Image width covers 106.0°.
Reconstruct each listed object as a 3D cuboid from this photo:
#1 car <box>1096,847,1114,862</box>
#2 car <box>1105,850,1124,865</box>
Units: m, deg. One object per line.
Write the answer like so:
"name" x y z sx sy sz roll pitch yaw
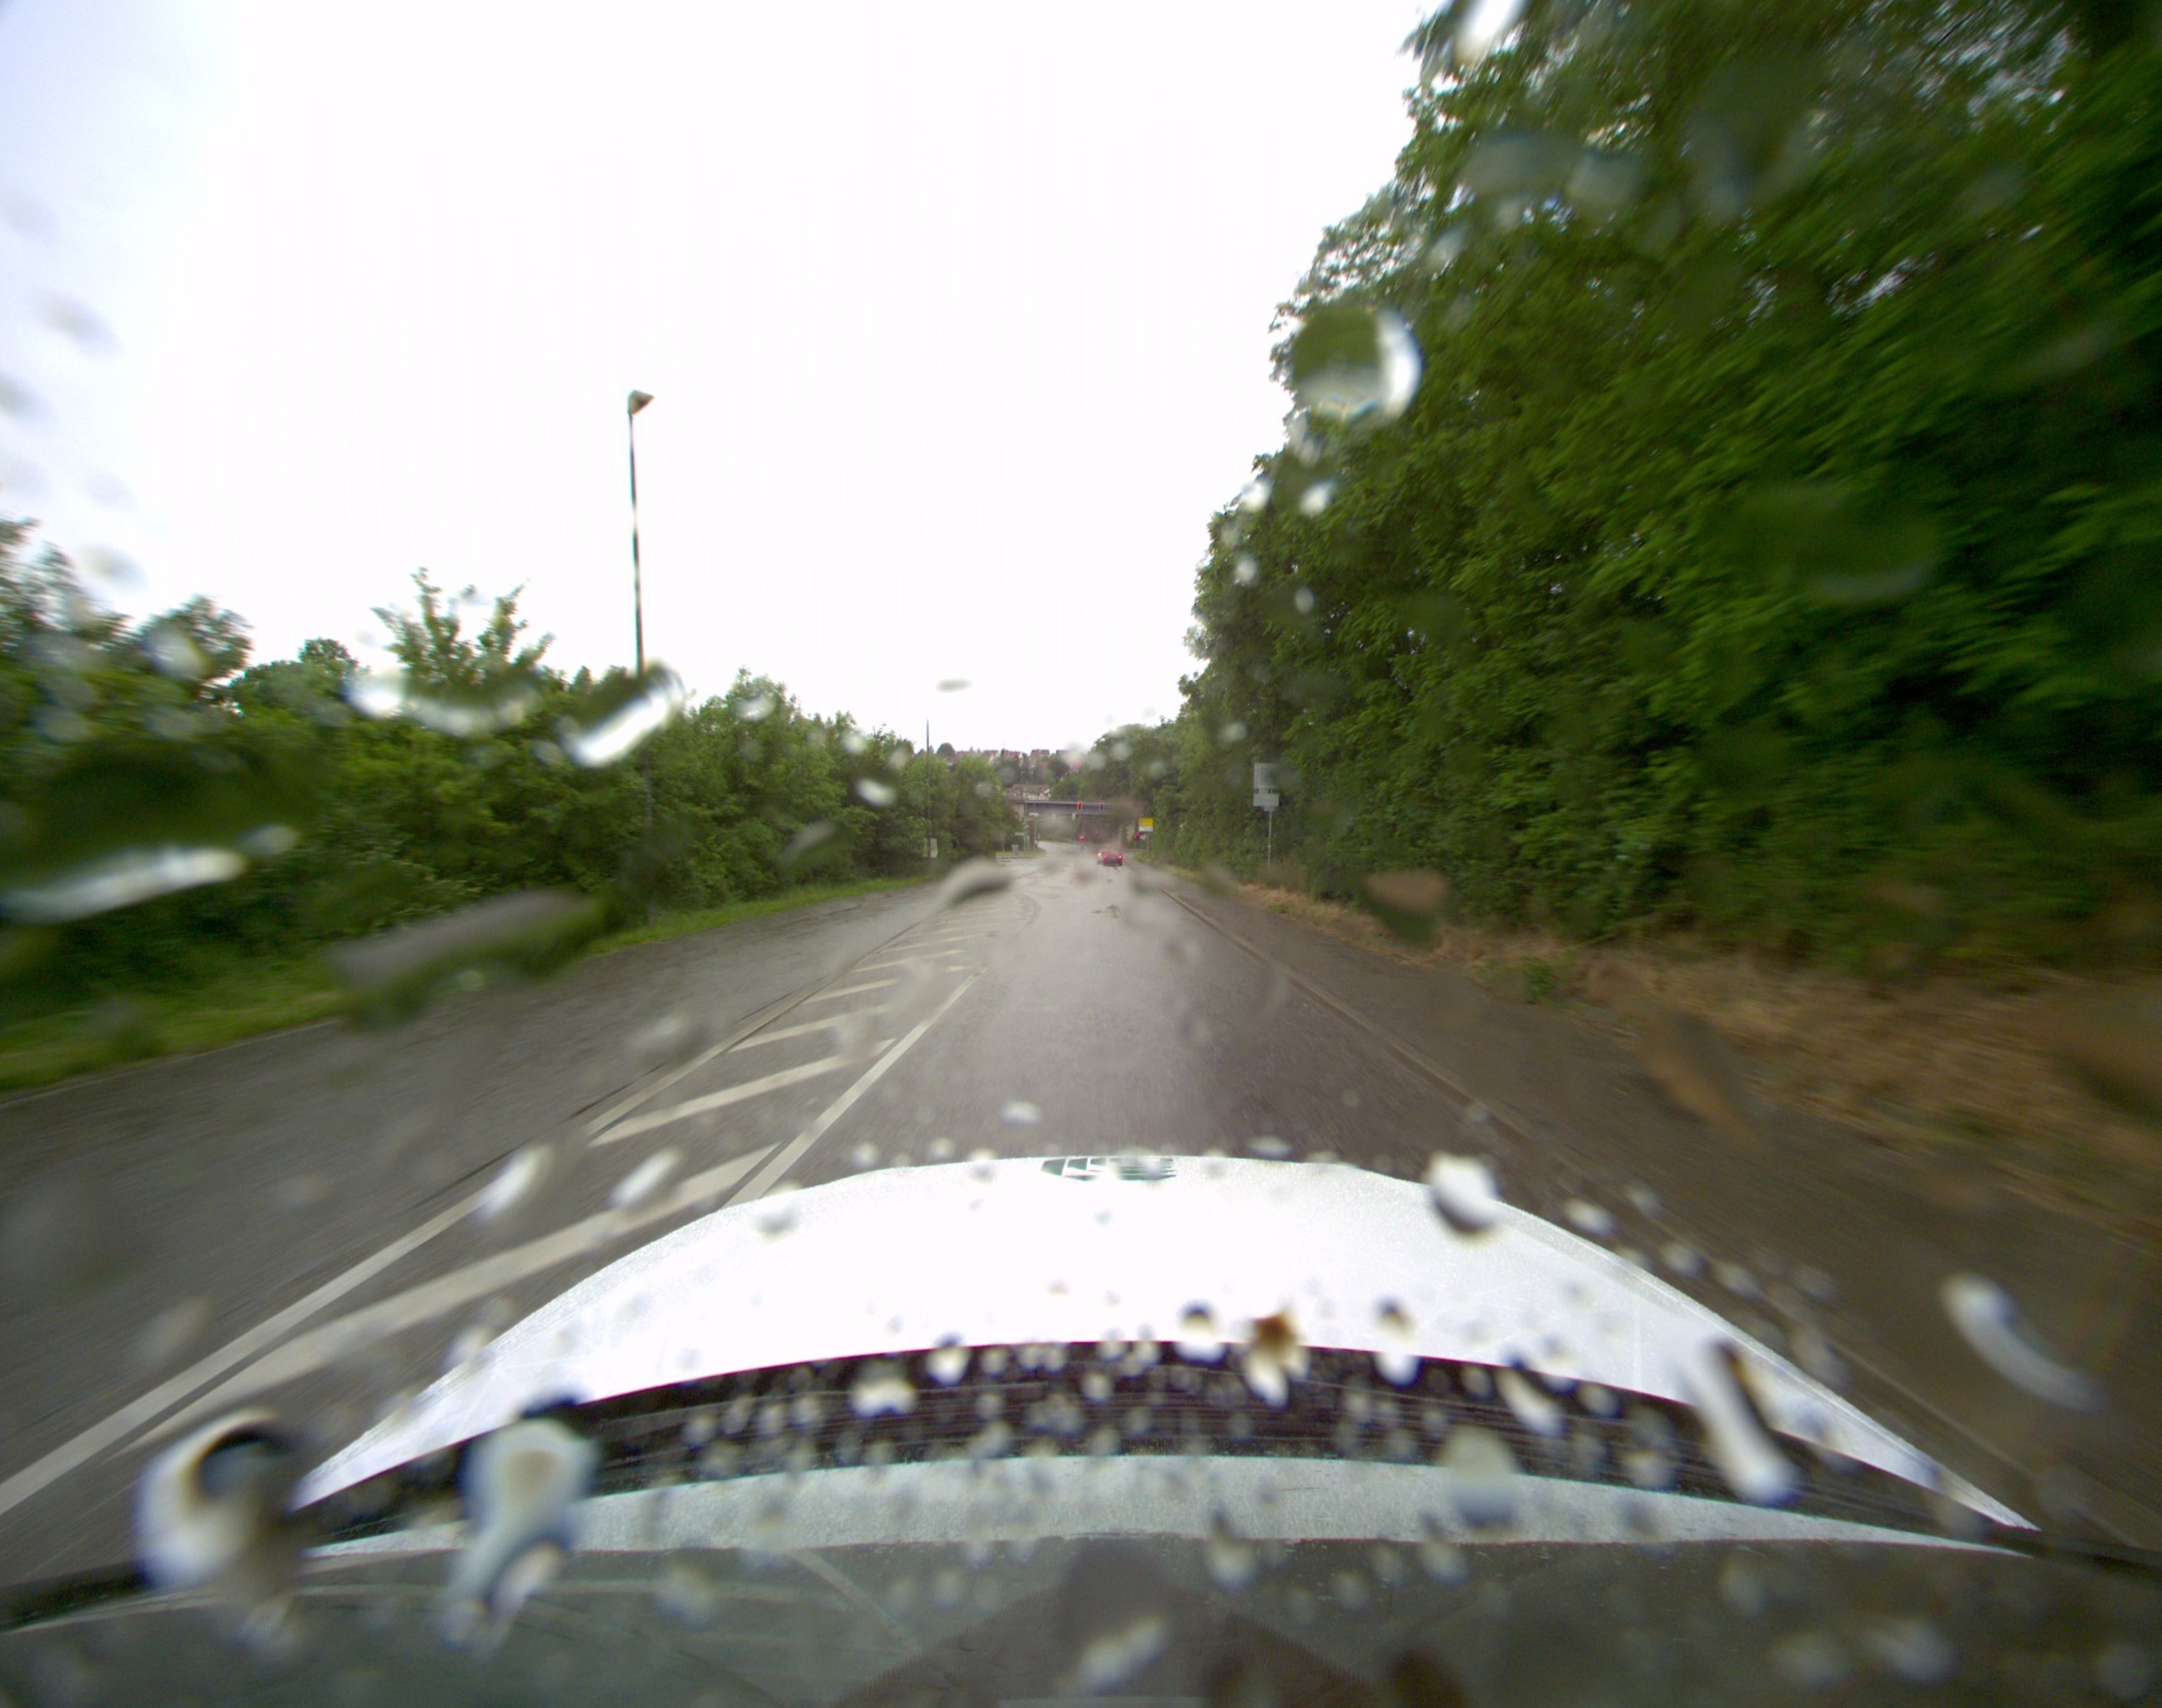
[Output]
"car" 2.481 0.055 84.247 1.761 1.563 4.002 -1 0 2
"car" 3.189 0.304 77.459 1.761 1.380 4.002 -1 0 2
